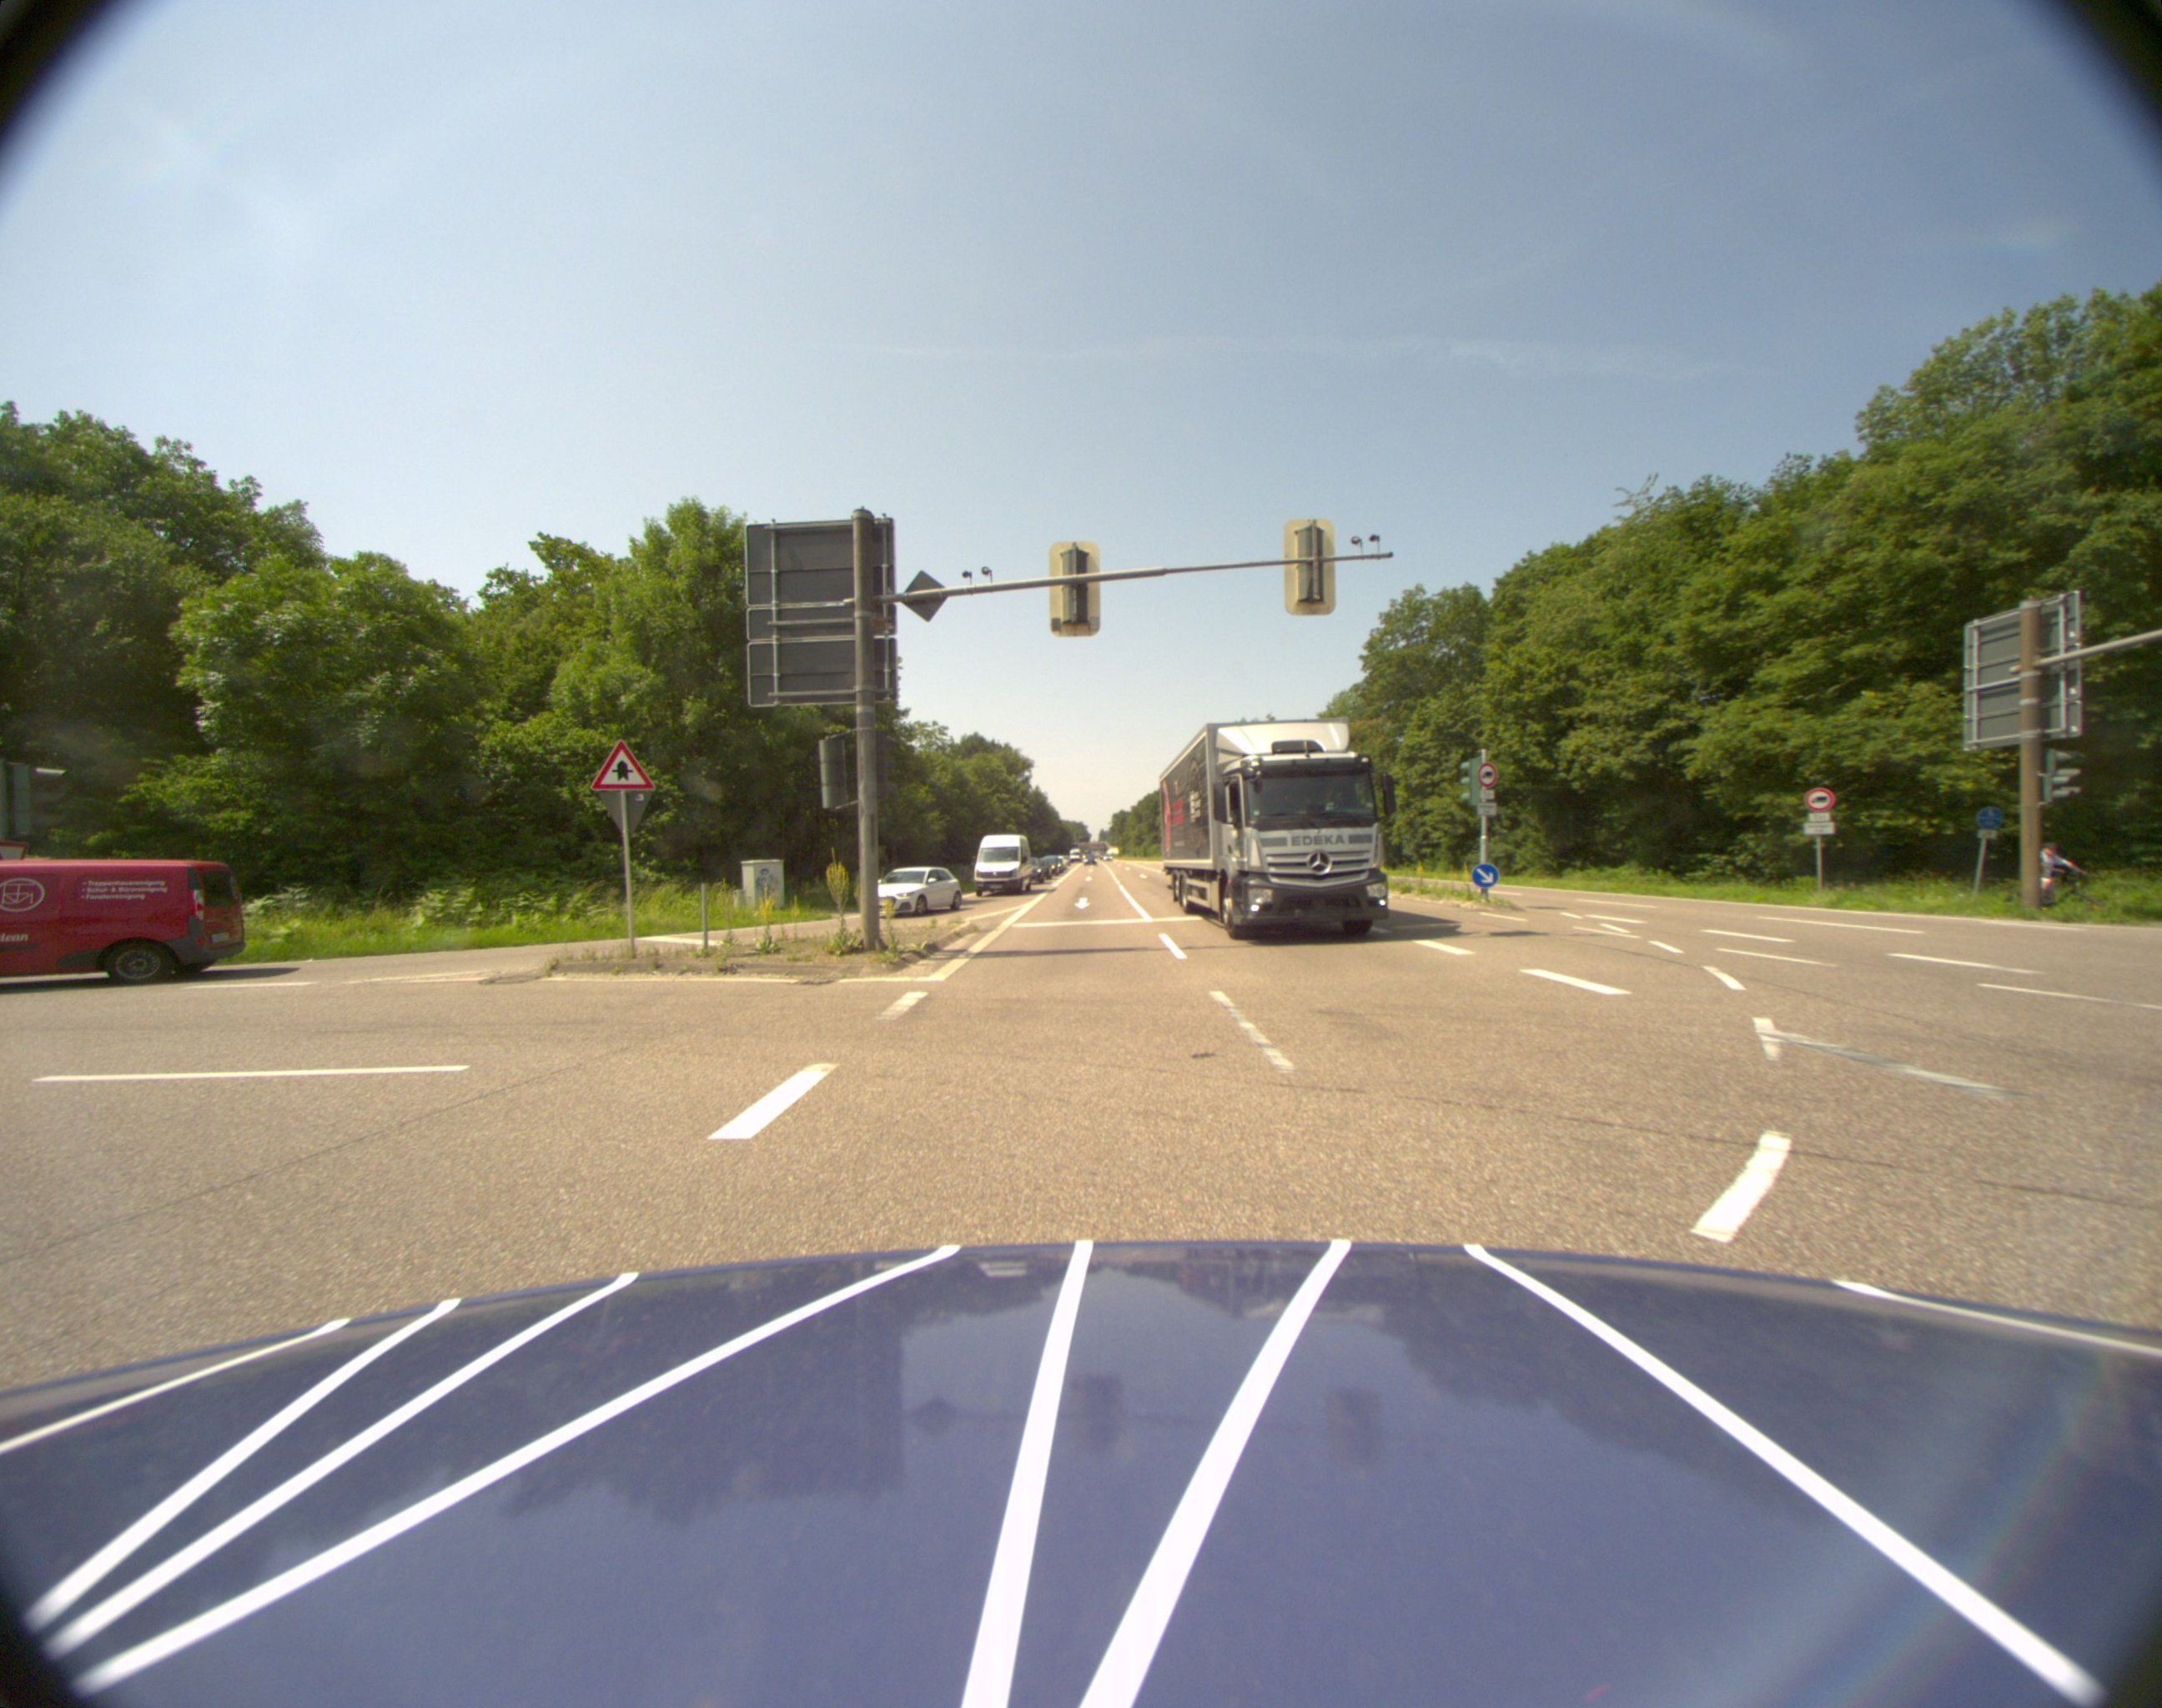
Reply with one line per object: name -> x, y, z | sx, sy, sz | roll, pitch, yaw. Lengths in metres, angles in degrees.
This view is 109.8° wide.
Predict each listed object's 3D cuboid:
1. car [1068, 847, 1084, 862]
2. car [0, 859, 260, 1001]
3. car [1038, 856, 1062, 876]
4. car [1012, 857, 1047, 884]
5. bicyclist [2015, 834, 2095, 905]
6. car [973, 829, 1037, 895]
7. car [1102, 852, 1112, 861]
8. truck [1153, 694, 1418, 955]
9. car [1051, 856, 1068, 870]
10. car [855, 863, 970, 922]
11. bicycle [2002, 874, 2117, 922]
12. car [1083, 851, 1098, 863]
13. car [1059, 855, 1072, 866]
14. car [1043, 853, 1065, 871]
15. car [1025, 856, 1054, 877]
car -> -0.893, 0.081, 147.042 | 2.673, 2.685, 6.330 | -1, 0, 3
car -> -15.000, 1.064, 10.576 | 4.503, 1.812, 1.793 | -2, 0, -33
car -> -2.467, 0.952, 61.212 | 1.796, 1.431, 4.228 | -1, 0, 0
car -> -3.024, 0.942, 45.248 | 1.796, 1.452, 4.228 | -3, 0, 0
bicyclist -> 20.694, 0.319, 16.160 | 0.660, 1.456, 0.810 | -1, 1, 10
car -> -3.287, 0.337, 34.191 | 1.974, 2.629, 6.060 | -3, 0, 2
car -> 5.057, 0.466, 148.540 | 1.998, 1.543, 4.000 | -1, 0, 0
truck -> 3.654, -0.484, 17.212 | 2.753, 3.862, 11.319 | -3, 0, 0
car -> -2.292, 0.933, 82.211 | 1.796, 1.431, 4.228 | -1, 1, 0
car -> -4.977, 1.097, 22.986 | 1.692, 1.427, 4.004 | -3, 0, 14
bicycle -> 20.693, 0.913, 16.115 | 0.566, 0.918, 1.606 | -1, 0, 10
car -> 1.300, 0.396, 105.396 | 1.992, 1.575, 4.364 | -1, 0, 0
car -> -2.236, 0.952, 110.536 | 1.796, 1.431, 4.228 | -1, 0, 0
car -> -2.401, 0.680, 67.995 | 1.796, 1.431, 4.228 | -1, 0, 0
car -> -2.831, 0.839, 52.831 | 1.796, 1.348, 4.228 | -1, 0, 0
